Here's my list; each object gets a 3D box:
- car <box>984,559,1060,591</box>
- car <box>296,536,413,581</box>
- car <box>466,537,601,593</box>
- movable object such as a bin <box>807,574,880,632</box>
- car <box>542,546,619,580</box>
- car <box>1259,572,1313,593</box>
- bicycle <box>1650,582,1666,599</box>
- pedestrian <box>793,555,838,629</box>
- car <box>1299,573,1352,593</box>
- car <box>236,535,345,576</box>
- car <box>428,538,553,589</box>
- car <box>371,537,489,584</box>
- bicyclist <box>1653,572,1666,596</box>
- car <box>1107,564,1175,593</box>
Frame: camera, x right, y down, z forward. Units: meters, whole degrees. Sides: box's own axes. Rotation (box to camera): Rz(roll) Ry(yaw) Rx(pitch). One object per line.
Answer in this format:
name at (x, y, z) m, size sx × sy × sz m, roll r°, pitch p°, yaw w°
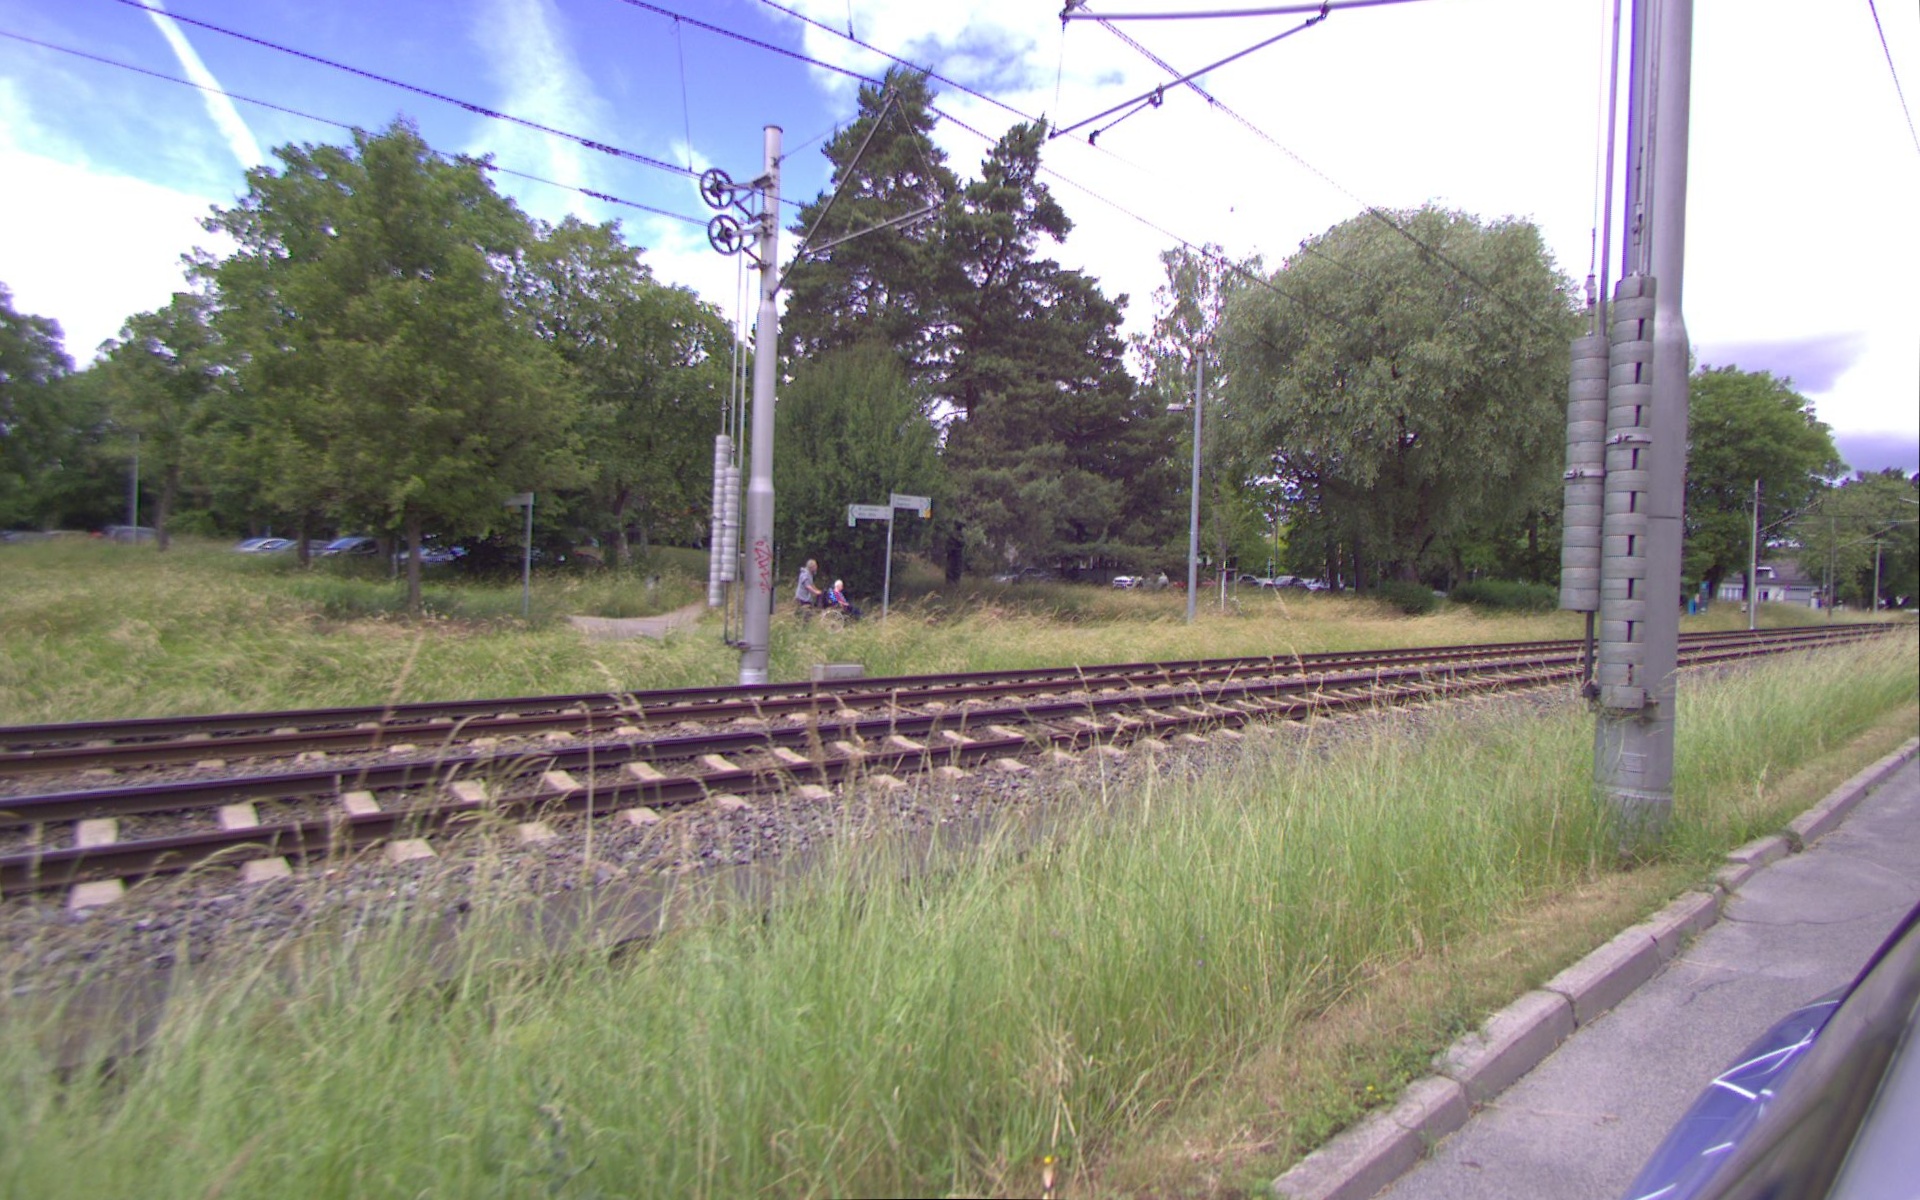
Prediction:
car at (3.475, -1.377, 56.445) m, size 3.927 × 1.721 × 1.998 m, roll 0°, pitch 1°, yaw -39°
car at (-26.410, -1.798, 44.270) m, size 1.978 × 1.834 × 3.968 m, roll 2°, pitch 1°, yaw 24°
car at (-14.626, -1.168, 34.893) m, size 1.739 × 1.826 × 3.947 m, roll 2°, pitch 1°, yaw 36°
movable object such as a bin at (-2.743, 0.060, 23.881) m, size 1.612 × 1.326 × 0.660 m, roll 1°, pitch 1°, yaw 1°
car at (-20.716, -1.988, 55.368) m, size 1.811 × 1.755 × 3.784 m, roll 1°, pitch 1°, yaw 24°
car at (23.965, -1.303, 74.290) m, size 3.930 × 1.460 × 1.998 m, roll 0°, pitch 2°, yaw -41°
bicycle at (51.171, -0.706, 74.163) m, size 1.897 × 1.261 × 0.581 m, roll 0°, pitch 1°, yaw -44°
pedestrian at (-3.419, -0.197, 23.965) m, size 0.940 × 1.687 × 0.658 m, roll 1°, pitch 1°, yaw 1°
car at (28.213, -1.285, 78.058) m, size 4.270 × 1.460 × 1.998 m, roll 0°, pitch 2°, yaw -41°
car at (-32.058, -2.105, 48.569) m, size 1.978 × 1.834 × 3.968 m, roll 2°, pitch 1°, yaw 24°
car at (-17.734, -1.346, 38.390) m, size 1.739 × 1.826 × 3.947 m, roll 2°, pitch 1°, yaw 36°
car at (-21.904, -1.594, 41.981) m, size 1.978 × 1.834 × 3.968 m, roll 2°, pitch 1°, yaw 24°
bicyclist at (51.315, -1.183, 74.282) m, size 0.920 × 1.717 × 0.581 m, roll 0°, pitch 1°, yaw -44°
car at (11.315, -1.305, 63.289) m, size 4.154 × 1.721 × 1.997 m, roll 0°, pitch 1°, yaw -40°
